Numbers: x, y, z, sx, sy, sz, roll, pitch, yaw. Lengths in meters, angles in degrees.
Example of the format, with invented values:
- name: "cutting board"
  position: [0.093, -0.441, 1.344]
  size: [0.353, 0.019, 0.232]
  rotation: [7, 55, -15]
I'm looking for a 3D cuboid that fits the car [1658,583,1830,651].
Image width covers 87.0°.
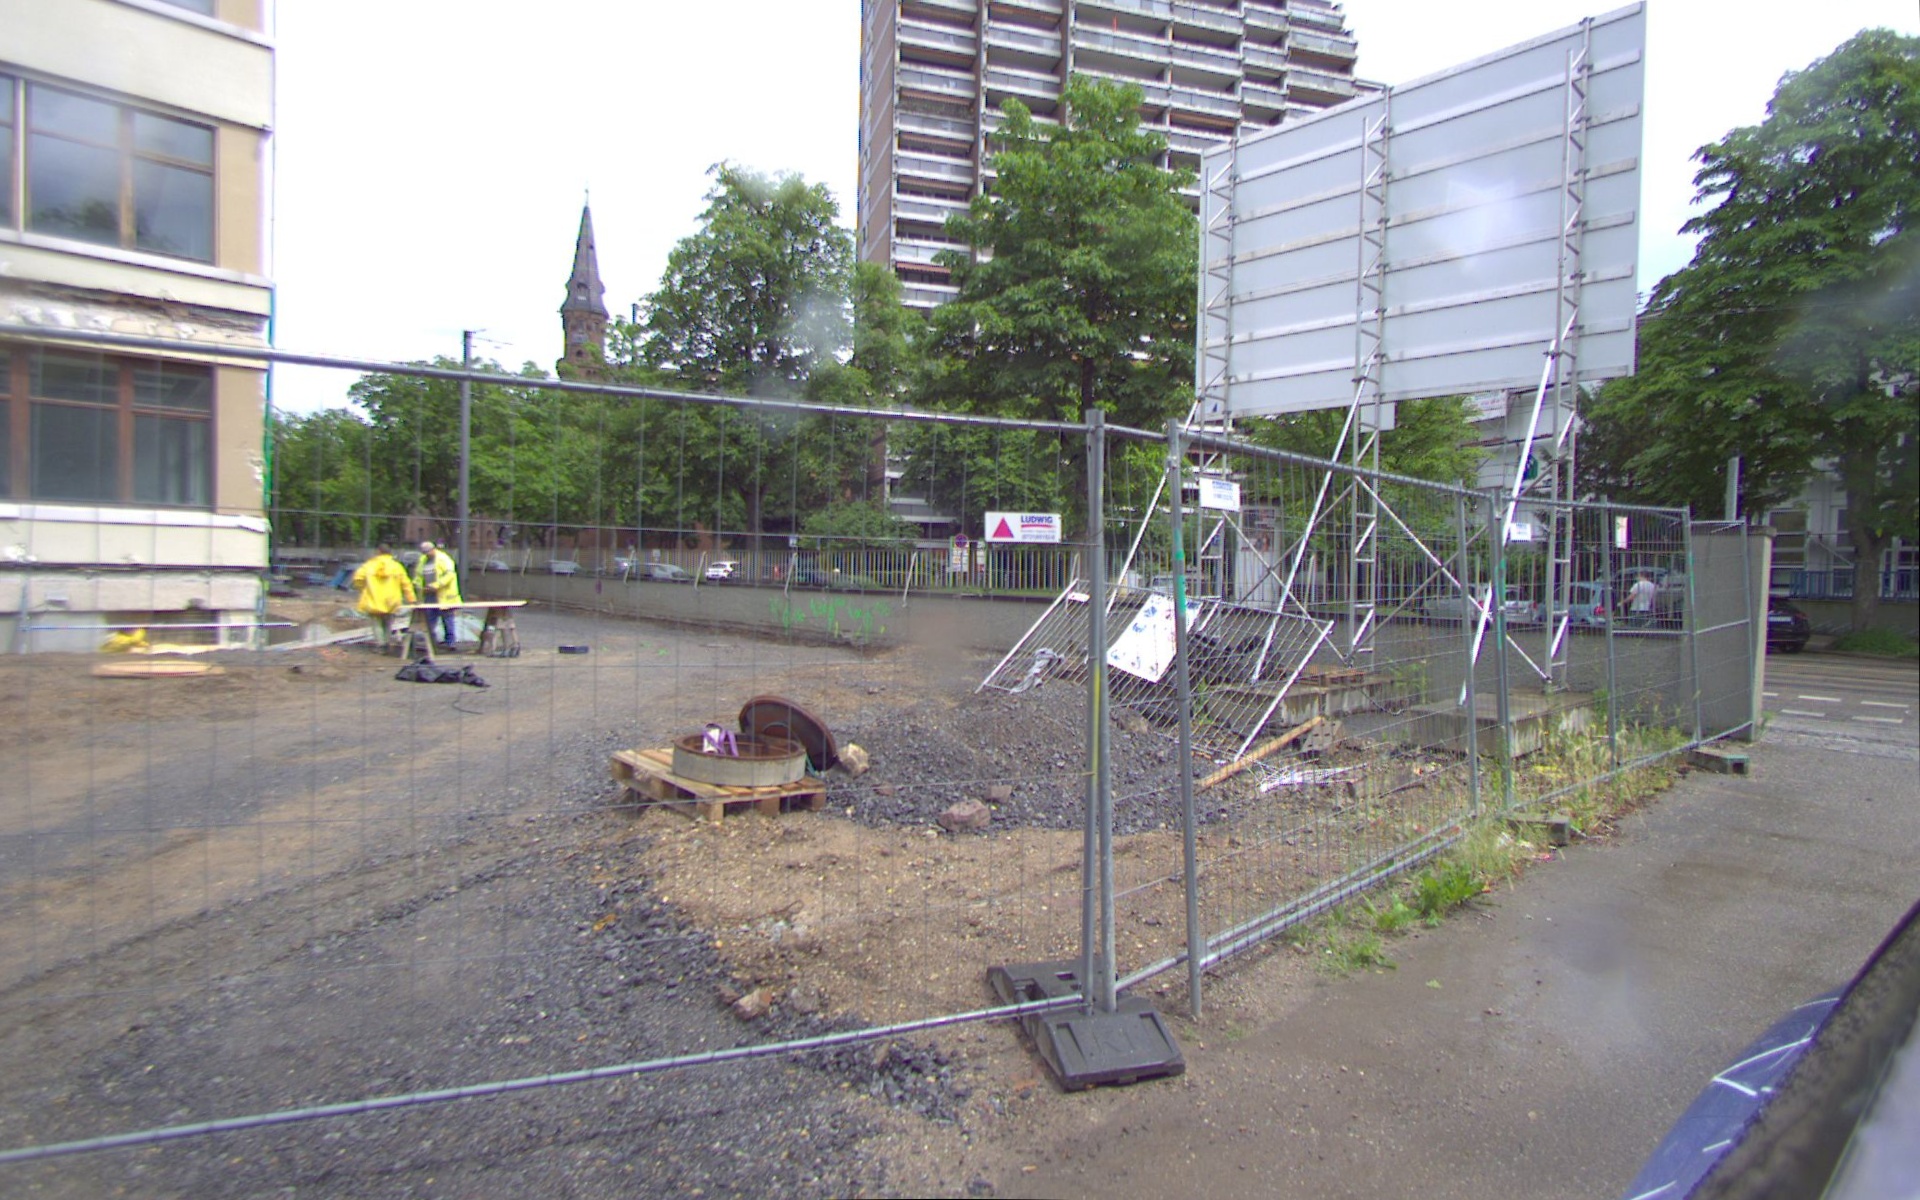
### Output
- name: "car"
  position: [19.051, 0.351, 24.804]
  size: [1.594, 1.445, 3.644]
  rotation: [1, 2, 6]

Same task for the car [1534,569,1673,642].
- name: "car"
  position: [17.149, 0.091, 27.173]
  size: [1.594, 1.768, 3.644]
  rotation: [1, 2, 6]

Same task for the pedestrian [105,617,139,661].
- name: "pedestrian"
  position: [-13.456, 0.620, 16.247]
  size: [0.345, 0.670, 0.386]
  rotation: [2, 1, 45]

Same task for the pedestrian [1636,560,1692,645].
- name: "pedestrian"
  position: [17.256, 0.051, 24.793]
  size: [0.914, 2.038, 0.859]
  rotation: [1, 1, -39]

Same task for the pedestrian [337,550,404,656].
- name: "pedestrian"
  position: [-8.756, 0.038, 15.030]
  size: [0.621, 1.527, 0.641]
  rotation: [2, 1, 35]

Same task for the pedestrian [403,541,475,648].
- name: "pedestrian"
  position: [-8.494, -0.099, 16.517]
  size: [0.765, 1.694, 0.710]
  rotation: [1, 1, 12]

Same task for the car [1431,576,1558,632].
- name: "car"
  position: [15.204, 0.061, 29.056]
  size: [1.827, 1.504, 3.995]
  rotation: [0, 1, 6]

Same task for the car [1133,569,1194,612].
- name: "car"
  position: [7.594, -0.386, 38.092]
  size: [1.827, 1.504, 3.995]
  rotation: [0, 1, 6]
